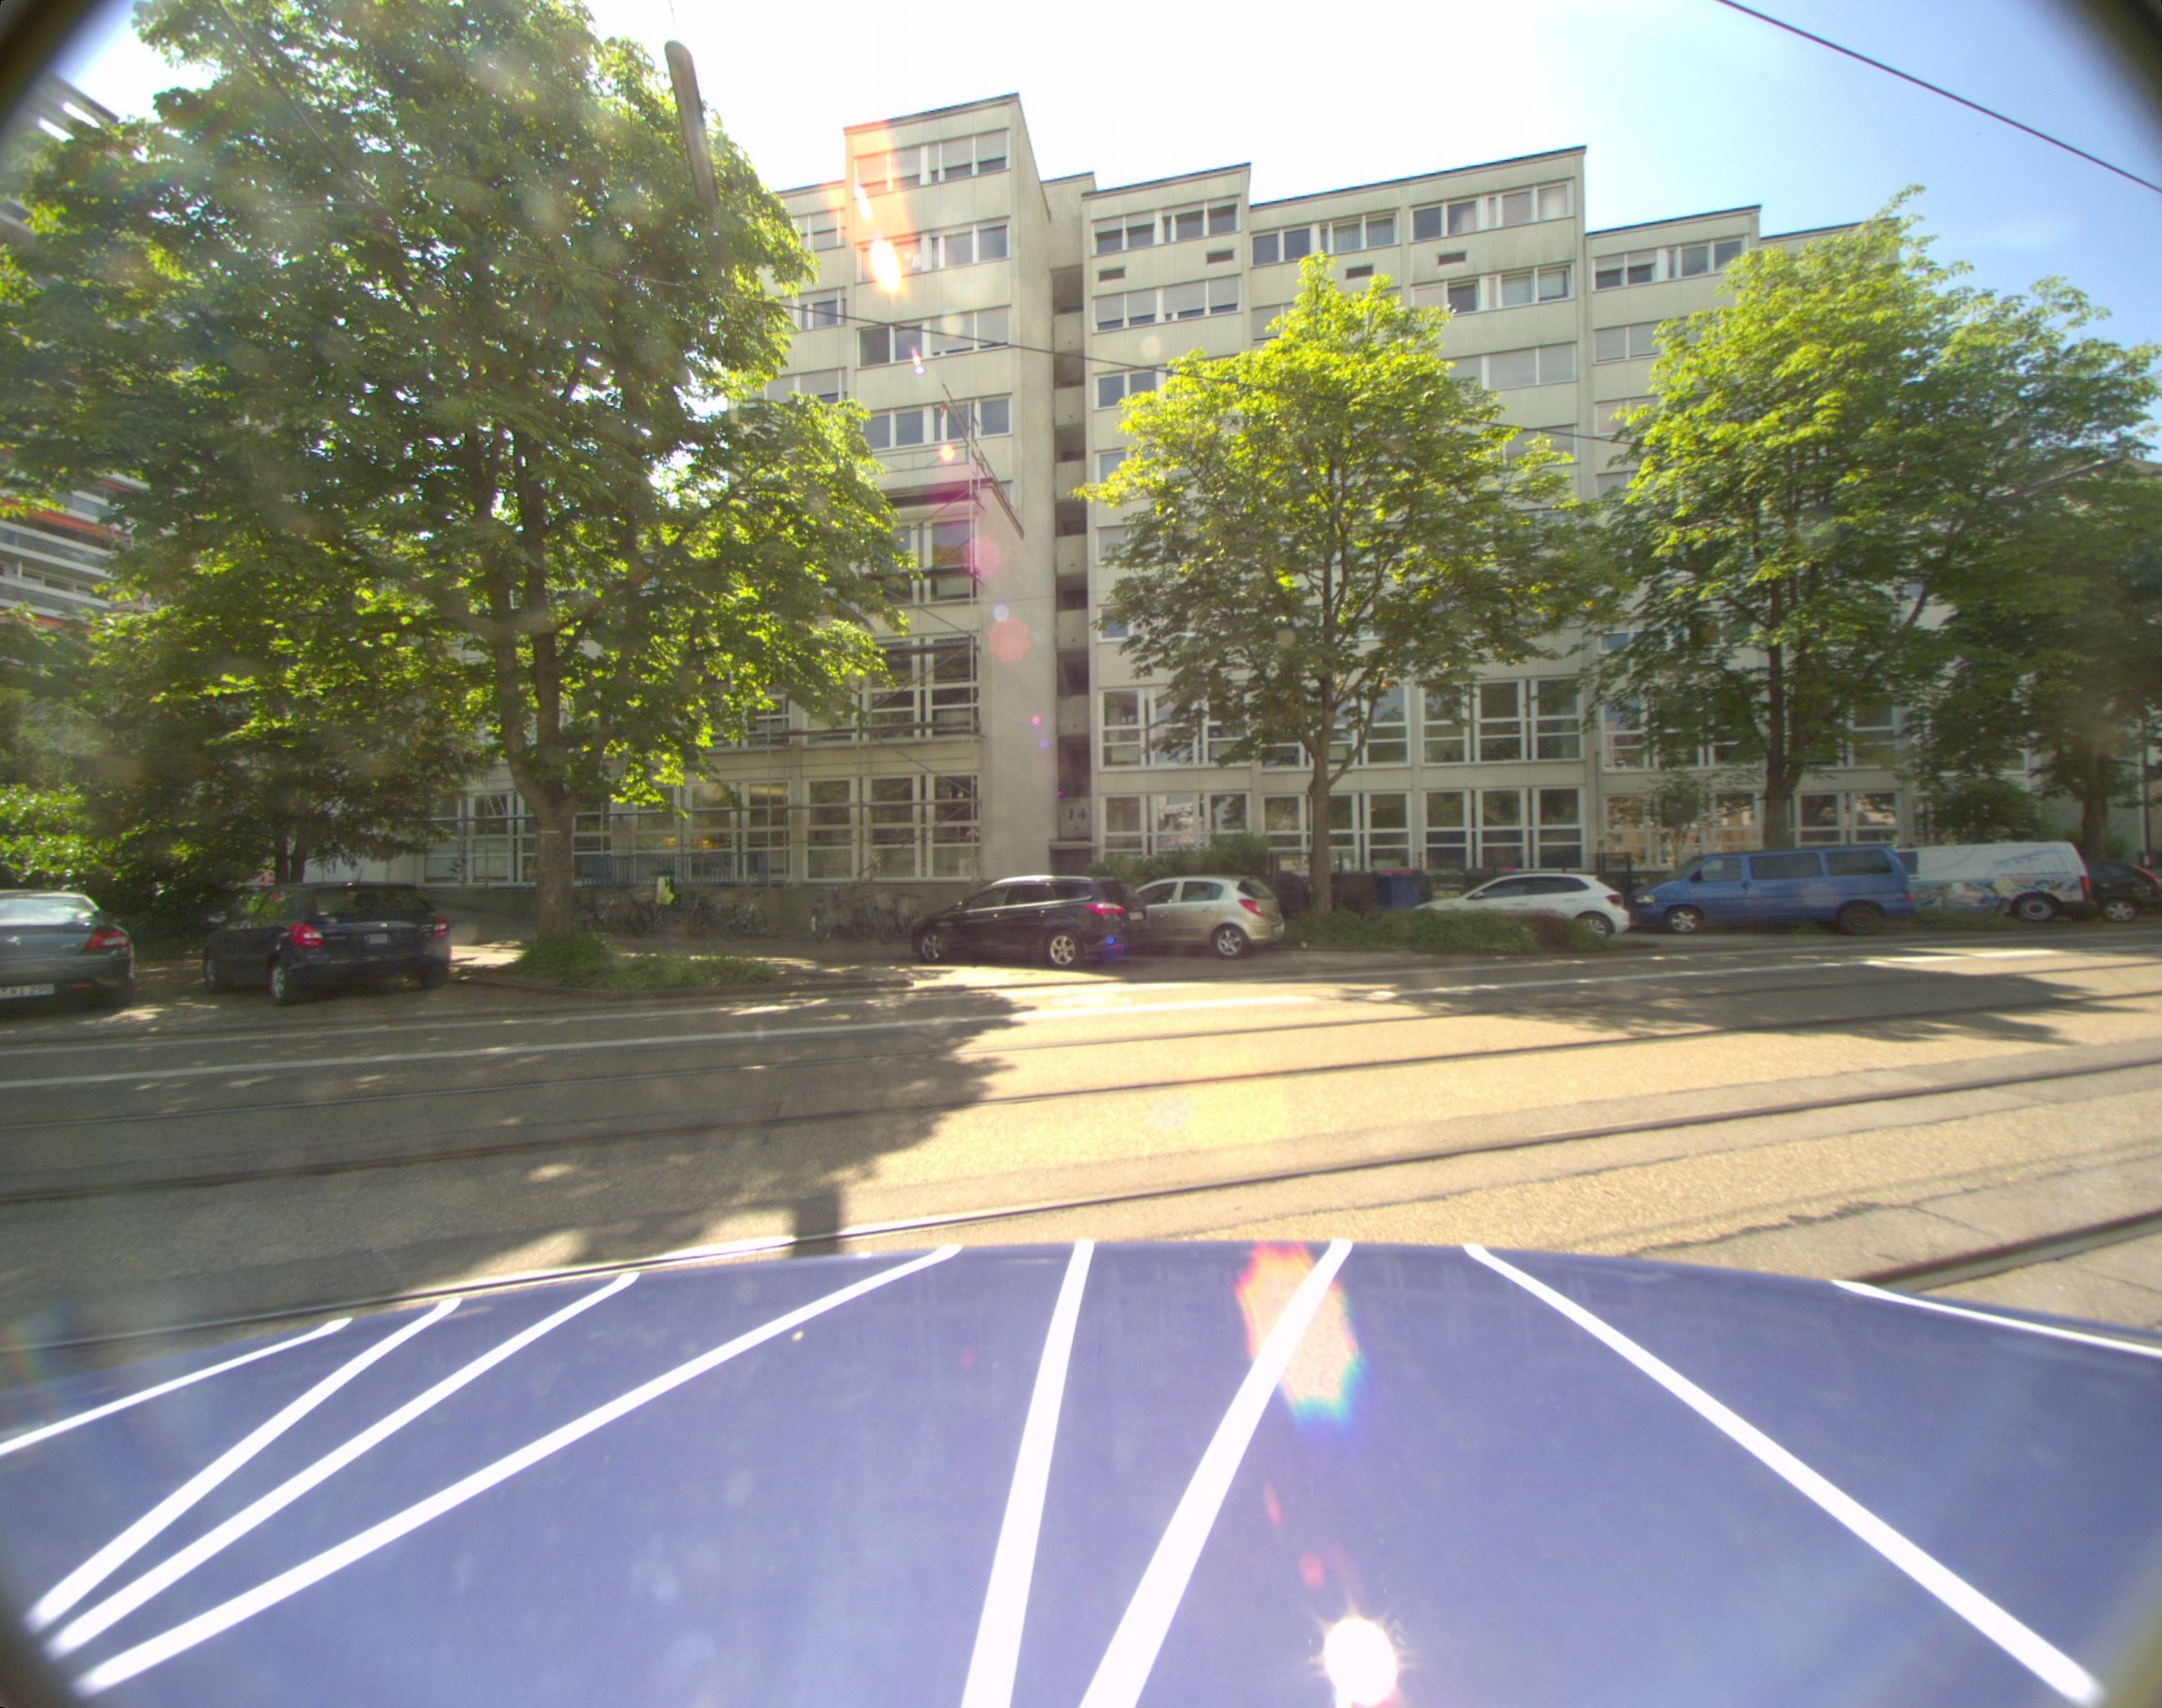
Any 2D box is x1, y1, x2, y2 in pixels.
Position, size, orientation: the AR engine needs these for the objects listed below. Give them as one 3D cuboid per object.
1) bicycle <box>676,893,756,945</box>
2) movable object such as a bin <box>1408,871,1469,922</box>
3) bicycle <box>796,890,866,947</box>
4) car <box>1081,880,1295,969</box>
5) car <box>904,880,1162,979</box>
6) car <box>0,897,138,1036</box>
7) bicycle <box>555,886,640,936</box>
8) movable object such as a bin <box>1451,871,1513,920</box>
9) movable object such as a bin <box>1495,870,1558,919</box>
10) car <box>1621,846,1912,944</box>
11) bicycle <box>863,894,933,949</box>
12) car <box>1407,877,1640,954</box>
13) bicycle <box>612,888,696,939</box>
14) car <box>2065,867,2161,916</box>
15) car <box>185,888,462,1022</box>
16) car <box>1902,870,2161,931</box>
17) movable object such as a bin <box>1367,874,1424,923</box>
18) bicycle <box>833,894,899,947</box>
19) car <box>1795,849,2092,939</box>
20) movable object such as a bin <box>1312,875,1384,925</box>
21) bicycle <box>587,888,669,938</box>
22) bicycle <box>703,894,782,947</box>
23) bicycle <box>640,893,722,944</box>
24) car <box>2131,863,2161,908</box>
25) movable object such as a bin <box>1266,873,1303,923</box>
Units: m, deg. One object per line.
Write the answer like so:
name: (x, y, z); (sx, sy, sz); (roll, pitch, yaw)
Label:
bicycle: (-8.619, 1.510, 18.036); (0.567, 1.123, 1.946); (-1, -1, 16)
movable object such as a bin: (10.240, 1.206, 21.776); (1.182, 1.390, 1.037); (-1, -2, -8)
bicycle: (-5.850, 1.479, 17.920); (0.567, 1.230, 1.946); (-1, -1, 16)
car: (1.984, 1.223, 14.162); (3.531, 1.453, 1.758); (-1, -2, 28)
car: (-0.875, 1.225, 13.263); (4.187, 1.461, 1.758); (-2, -2, 28)
car: (-13.267, 1.286, 9.305); (4.012, 1.454, 1.824); (-2, -2, 34)
bicycle: (-11.834, 1.373, 18.680); (0.567, 1.123, 1.930); (-1, -1, 12)
movable object such as a bin: (11.625, 1.199, 22.084); (1.182, 1.390, 1.037); (-1, -2, -8)
movable object such as a bin: (13.122, 1.191, 22.412); (1.182, 1.390, 1.037); (-1, -2, -8)
car: (15.393, 0.903, 17.488); (4.618, 2.001, 2.004); (-1, -2, 29)
bicycle: (-4.216, 1.532, 17.697); (0.567, 1.123, 2.238); (-1, -2, 16)
car: (8.993, 1.200, 15.758); (3.971, 1.405, 1.718); (-1, -2, 28)
bicycle: (-10.311, 1.413, 18.422); (0.567, 1.123, 1.930); (-1, -1, 16)
car: (33.817, 1.177, 23.342); (3.989, 1.379, 1.754); (1, 2, 28)
car: (-10.269, 1.229, 10.283); (3.566, 1.507, 1.653); (-1, -2, 28)
car: (24.779, 1.175, 20.063); (3.989, 1.477, 1.674); (-2, -2, 40)
movable object such as a bin: (8.792, 1.240, 21.253); (1.078, 1.322, 0.970); (0, -2, -14)
bicycle: (-5.050, 1.540, 17.962); (0.567, 1.123, 1.946); (-1, -1, 16)
car: (21.359, 0.966, 19.194); (4.618, 2.001, 2.005); (-2, -2, 37)
movable object such as a bin: (7.290, 1.242, 20.773); (1.453, 1.322, 1.125); (0, -2, -14)
bicycle: (-11.053, 1.426, 18.628); (0.567, 1.123, 1.930); (-1, -1, 12)
bicycle: (-7.871, 1.517, 17.781); (0.567, 1.123, 1.946); (-1, -1, 16)
bicycle: (-9.576, 1.522, 18.274); (0.567, 1.123, 1.946); (-1, -1, 16)
car: (37.493, 1.020, 24.589); (1.952, 1.499, 3.991); (0, -2, -33)
movable object such as a bin: (5.820, 1.261, 21.762); (0.803, 1.396, 0.767); (-1, -2, -2)
